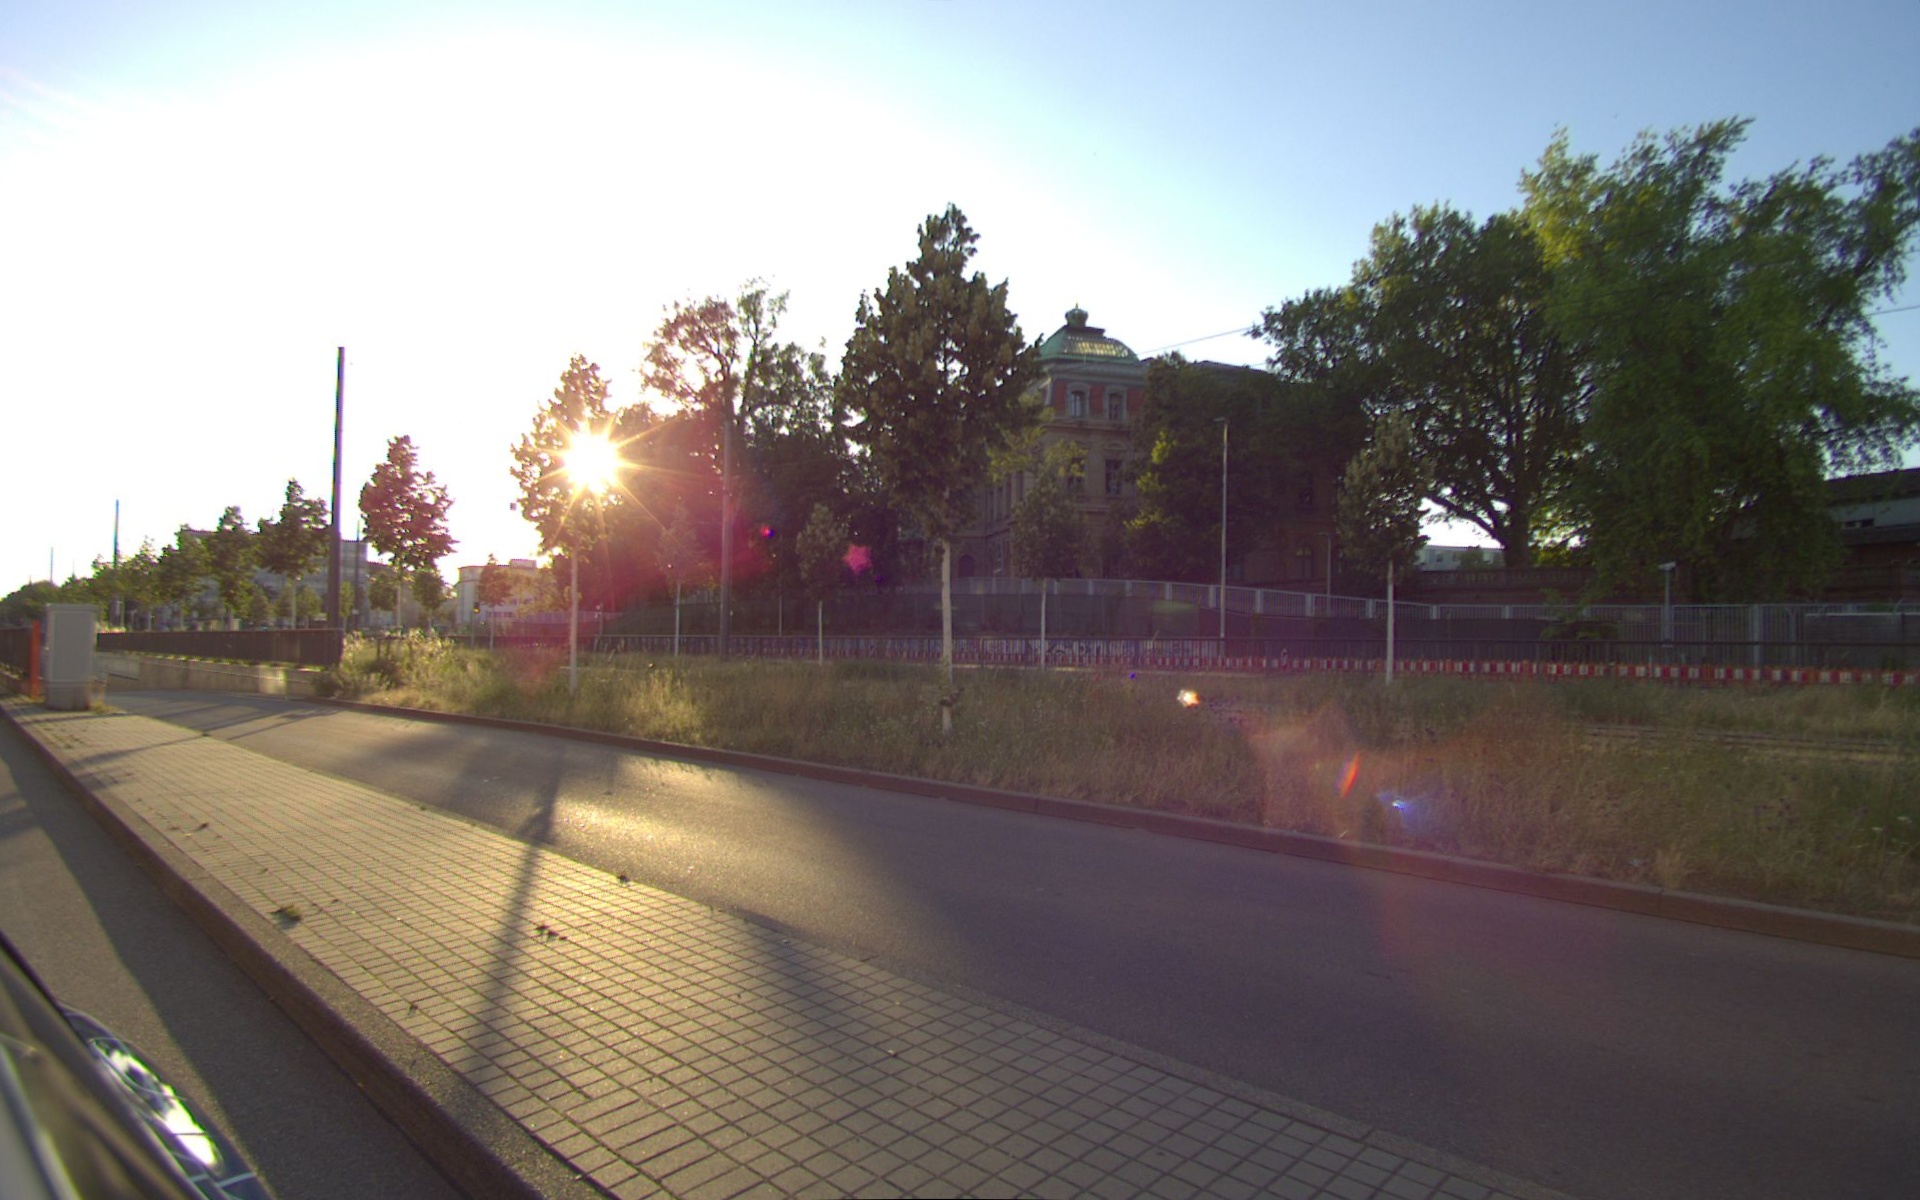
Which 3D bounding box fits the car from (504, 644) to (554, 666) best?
[{"bbox_3d":[-31.530,4.006,73.916,1.909,1.492,4.526,1,-3,-43],"label":"car"}]
